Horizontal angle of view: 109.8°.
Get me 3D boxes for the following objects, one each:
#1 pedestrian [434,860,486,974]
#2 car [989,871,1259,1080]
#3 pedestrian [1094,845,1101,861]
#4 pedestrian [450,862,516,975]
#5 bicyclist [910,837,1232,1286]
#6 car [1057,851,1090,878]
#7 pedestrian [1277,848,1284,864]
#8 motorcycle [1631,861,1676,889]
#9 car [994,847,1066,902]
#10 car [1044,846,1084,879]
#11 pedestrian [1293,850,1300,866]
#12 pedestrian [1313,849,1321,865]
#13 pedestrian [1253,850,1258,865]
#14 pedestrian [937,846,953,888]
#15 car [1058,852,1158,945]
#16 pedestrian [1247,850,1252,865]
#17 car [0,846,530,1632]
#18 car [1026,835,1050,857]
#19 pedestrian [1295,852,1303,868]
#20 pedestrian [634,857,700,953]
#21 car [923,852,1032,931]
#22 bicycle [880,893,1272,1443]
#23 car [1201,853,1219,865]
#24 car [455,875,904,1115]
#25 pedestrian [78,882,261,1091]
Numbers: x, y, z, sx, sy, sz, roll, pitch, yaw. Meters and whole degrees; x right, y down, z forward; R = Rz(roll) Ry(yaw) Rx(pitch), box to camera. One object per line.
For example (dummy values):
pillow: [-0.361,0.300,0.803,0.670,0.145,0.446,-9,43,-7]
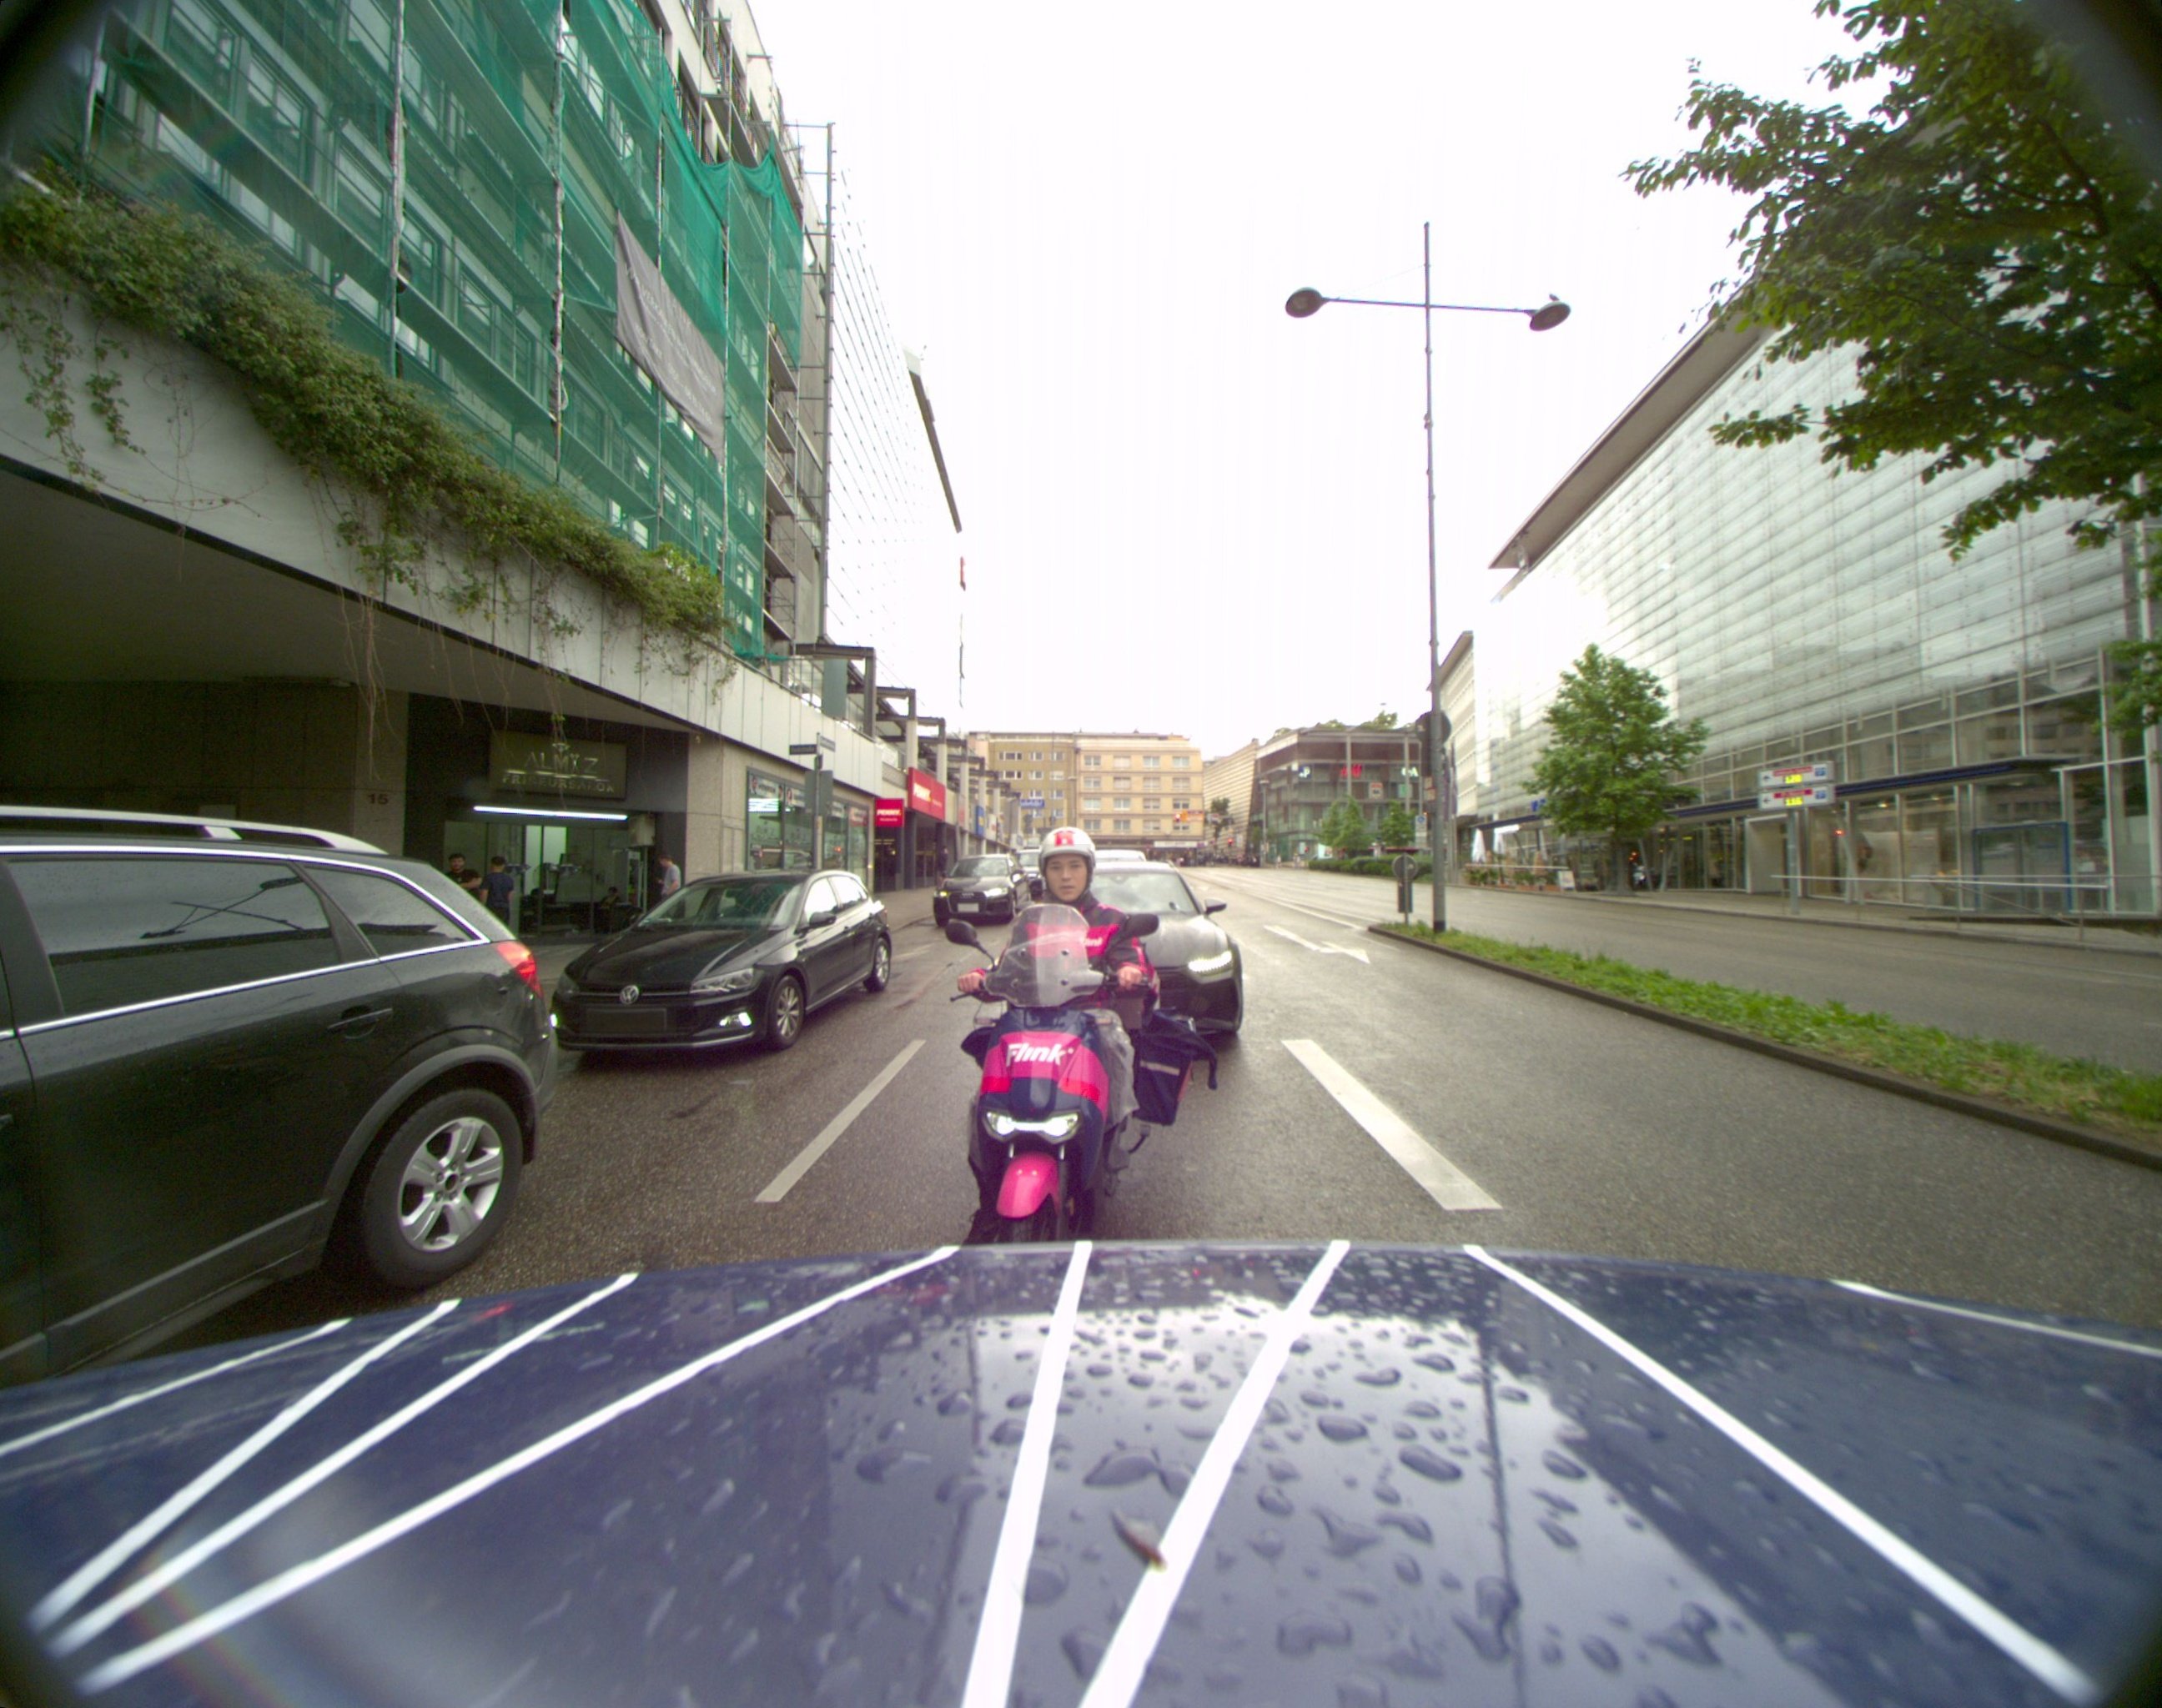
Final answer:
pedestrian: [-9.580,0.955,11.721,0.466,1.698,0.484,0,2,42]
car: [0.392,0.927,7.538,1.890,1.391,4.165,-2,-1,2]
pedestrian: [1.651,-0.126,75.618,0.634,1.620,0.602,0,1,-1]
pedestrian: [-8.902,0.935,11.333,0.640,1.586,0.576,-3,2,-32]
bicyclist: [-0.027,0.717,3.041,1.063,1.534,0.825,-2,2,0]
car: [-0.461,0.683,51.533,1.988,1.696,4.165,-2,-1,2]
pedestrian: [22.445,0.268,85.344,0.626,1.764,0.689,-2,2,7]
motorcycle: [28.020,1.028,37.184,1.707,1.319,0.620,0,1,1]
car: [-1.666,0.676,26.164,1.988,1.696,4.165,-2,-1,2]
car: [-0.913,0.485,43.249,1.988,1.696,4.165,-2,-1,2]
pedestrian: [23.236,0.435,81.911,0.633,1.620,0.602,0,1,2]
pedestrian: [26.084,0.328,84.060,0.626,1.764,0.689,-2,2,5]
pedestrian: [19.351,0.408,84.259,0.428,1.620,0.602,1,1,5]
pedestrian: [-5.389,0.504,30.119,0.510,1.669,0.579,0,2,0]
car: [0.562,0.774,15.193,1.675,1.520,4.164,-2,1,2]
pedestrian: [19.251,0.397,86.902,0.428,1.620,0.602,1,1,3]
car: [-3.327,0.883,1.222,1.764,1.755,4.164,-2,0,1]
car: [-4.069,-0.783,72.501,1.605,2.002,3.400,-2,1,7]
pedestrian: [23.195,0.622,80.875,0.633,1.620,0.602,1,1,4]
pedestrian: [-7.382,0.890,13.558,0.732,1.633,0.640,-1,2,25]
car: [-2.338,0.805,18.294,1.841,1.598,4.164,-2,1,2]
bicycle: [0.006,0.947,3.559,1.034,1.279,2.948,-2,1,1]
car: [23.180,0.868,136.375,2.000,2.002,4.584,0,1,-7]
car: [-3.197,1.012,7.177,1.758,1.495,4.165,-2,-1,4]
pedestrian: [-8.457,1.189,7.089,0.743,1.805,0.773,0,1,1]
